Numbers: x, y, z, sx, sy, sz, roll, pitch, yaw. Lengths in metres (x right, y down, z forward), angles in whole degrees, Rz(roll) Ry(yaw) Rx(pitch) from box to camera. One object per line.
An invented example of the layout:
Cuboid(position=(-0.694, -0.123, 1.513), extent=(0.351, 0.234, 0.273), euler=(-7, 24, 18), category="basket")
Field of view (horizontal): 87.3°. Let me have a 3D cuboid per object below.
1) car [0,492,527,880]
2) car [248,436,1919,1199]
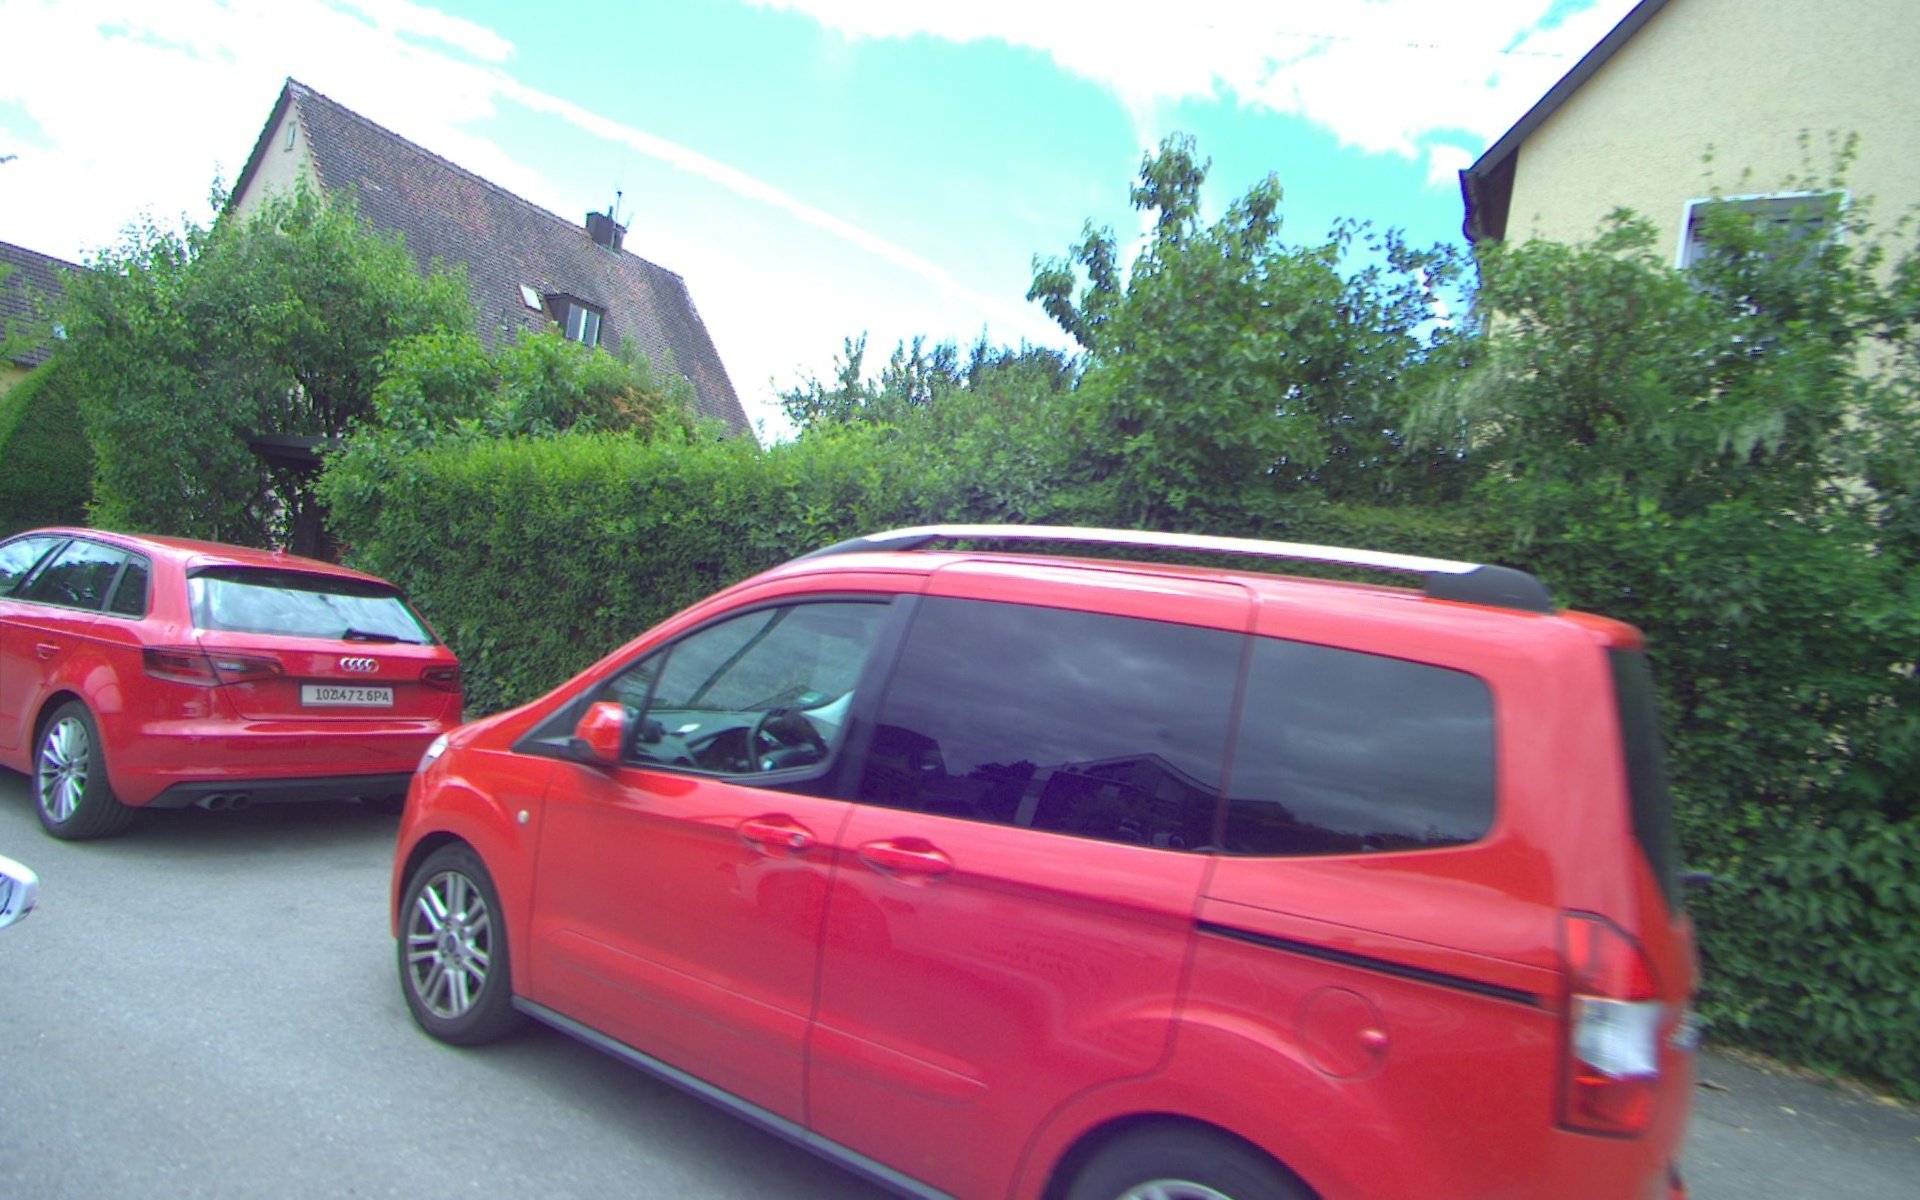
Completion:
Cuboid(position=(-4.787, 0.251, 5.882), extent=(4.193, 1.484, 1.717), euler=(8, -1, 27), category="car")
Cuboid(position=(0.103, 0.682, 3.100), extent=(4.865, 1.818, 1.764), euler=(8, -1, 31), category="car")
